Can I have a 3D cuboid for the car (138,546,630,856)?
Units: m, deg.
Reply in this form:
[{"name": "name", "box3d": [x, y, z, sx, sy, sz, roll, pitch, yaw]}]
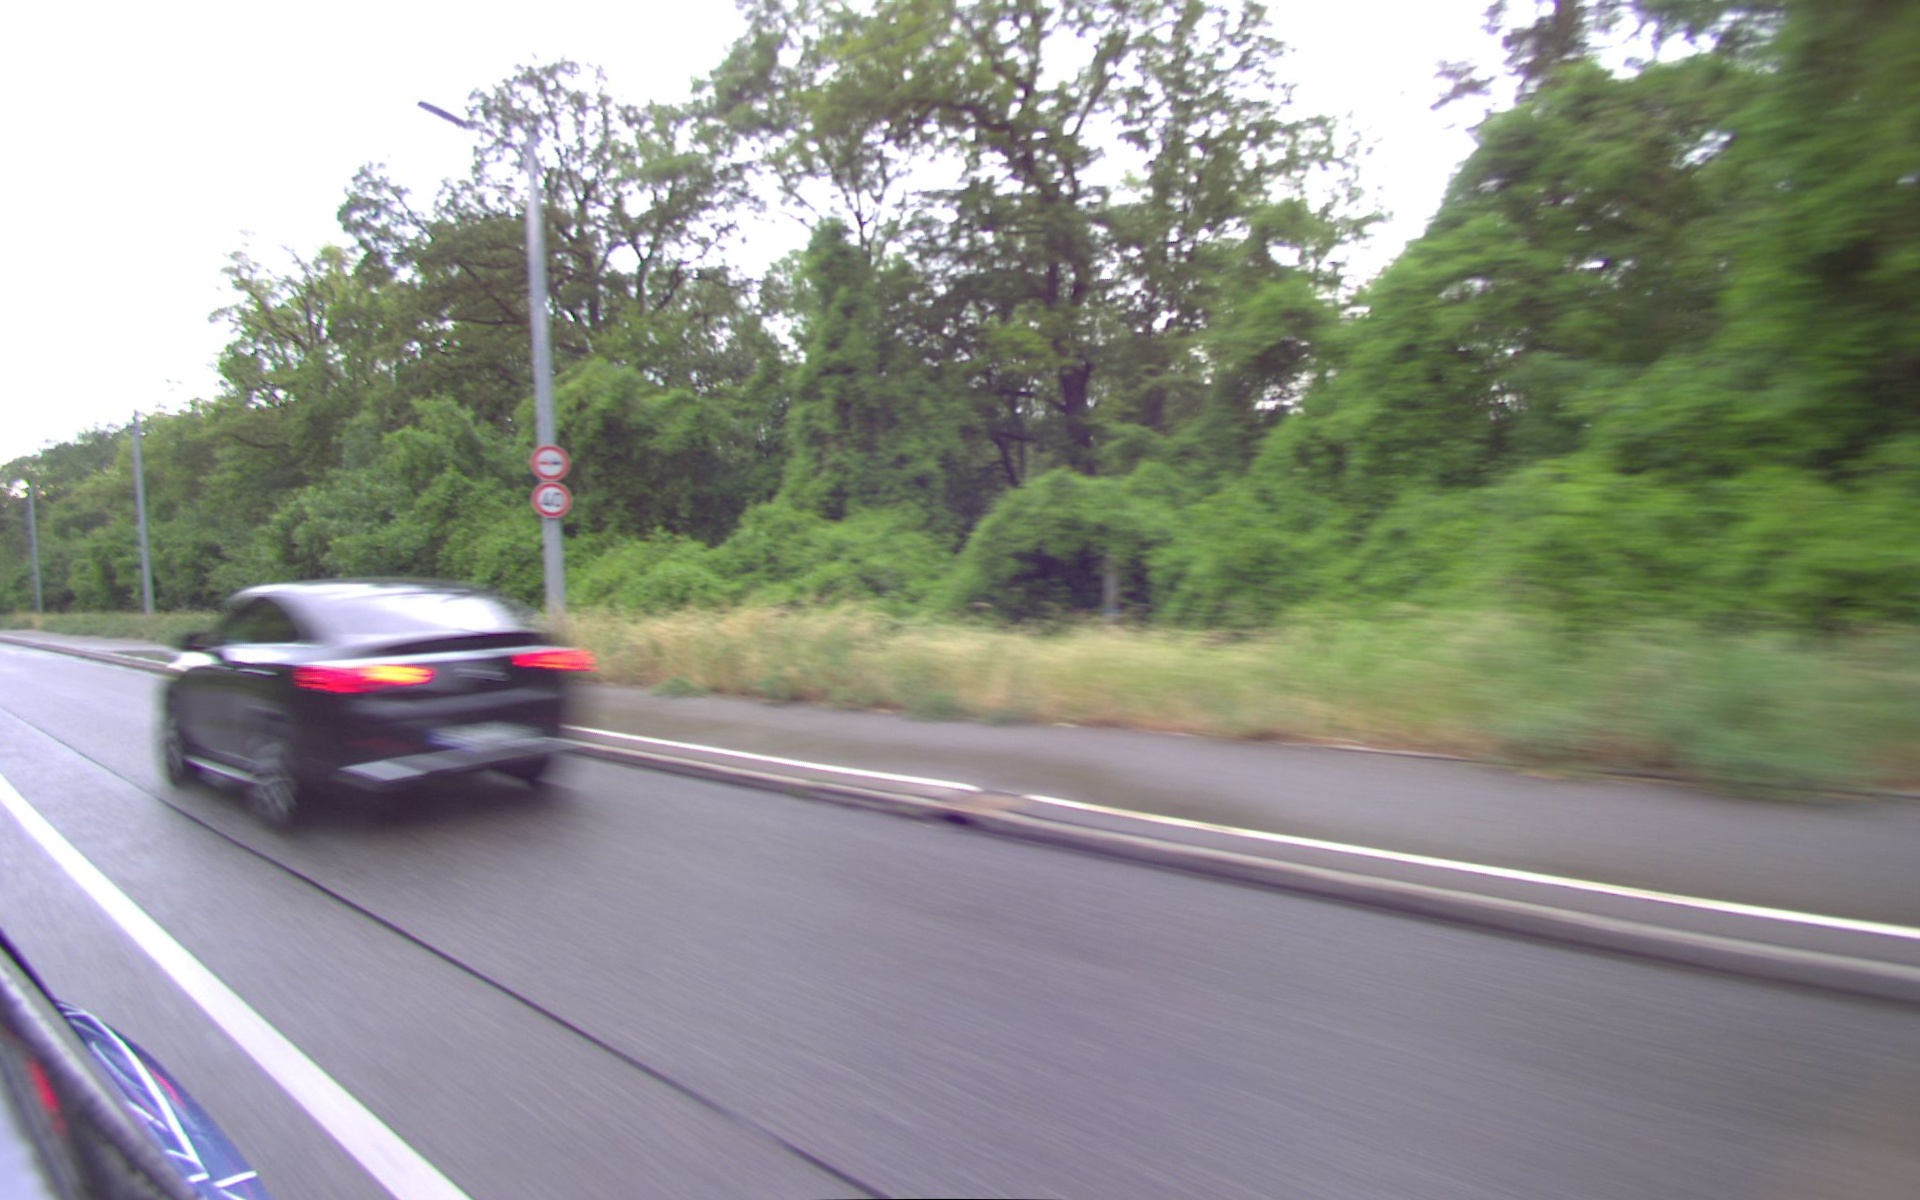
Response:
[{"name": "car", "box3d": [-4.844, 0.610, 8.173, 4.705, 1.800, 1.973, -1, 0, 41]}]
